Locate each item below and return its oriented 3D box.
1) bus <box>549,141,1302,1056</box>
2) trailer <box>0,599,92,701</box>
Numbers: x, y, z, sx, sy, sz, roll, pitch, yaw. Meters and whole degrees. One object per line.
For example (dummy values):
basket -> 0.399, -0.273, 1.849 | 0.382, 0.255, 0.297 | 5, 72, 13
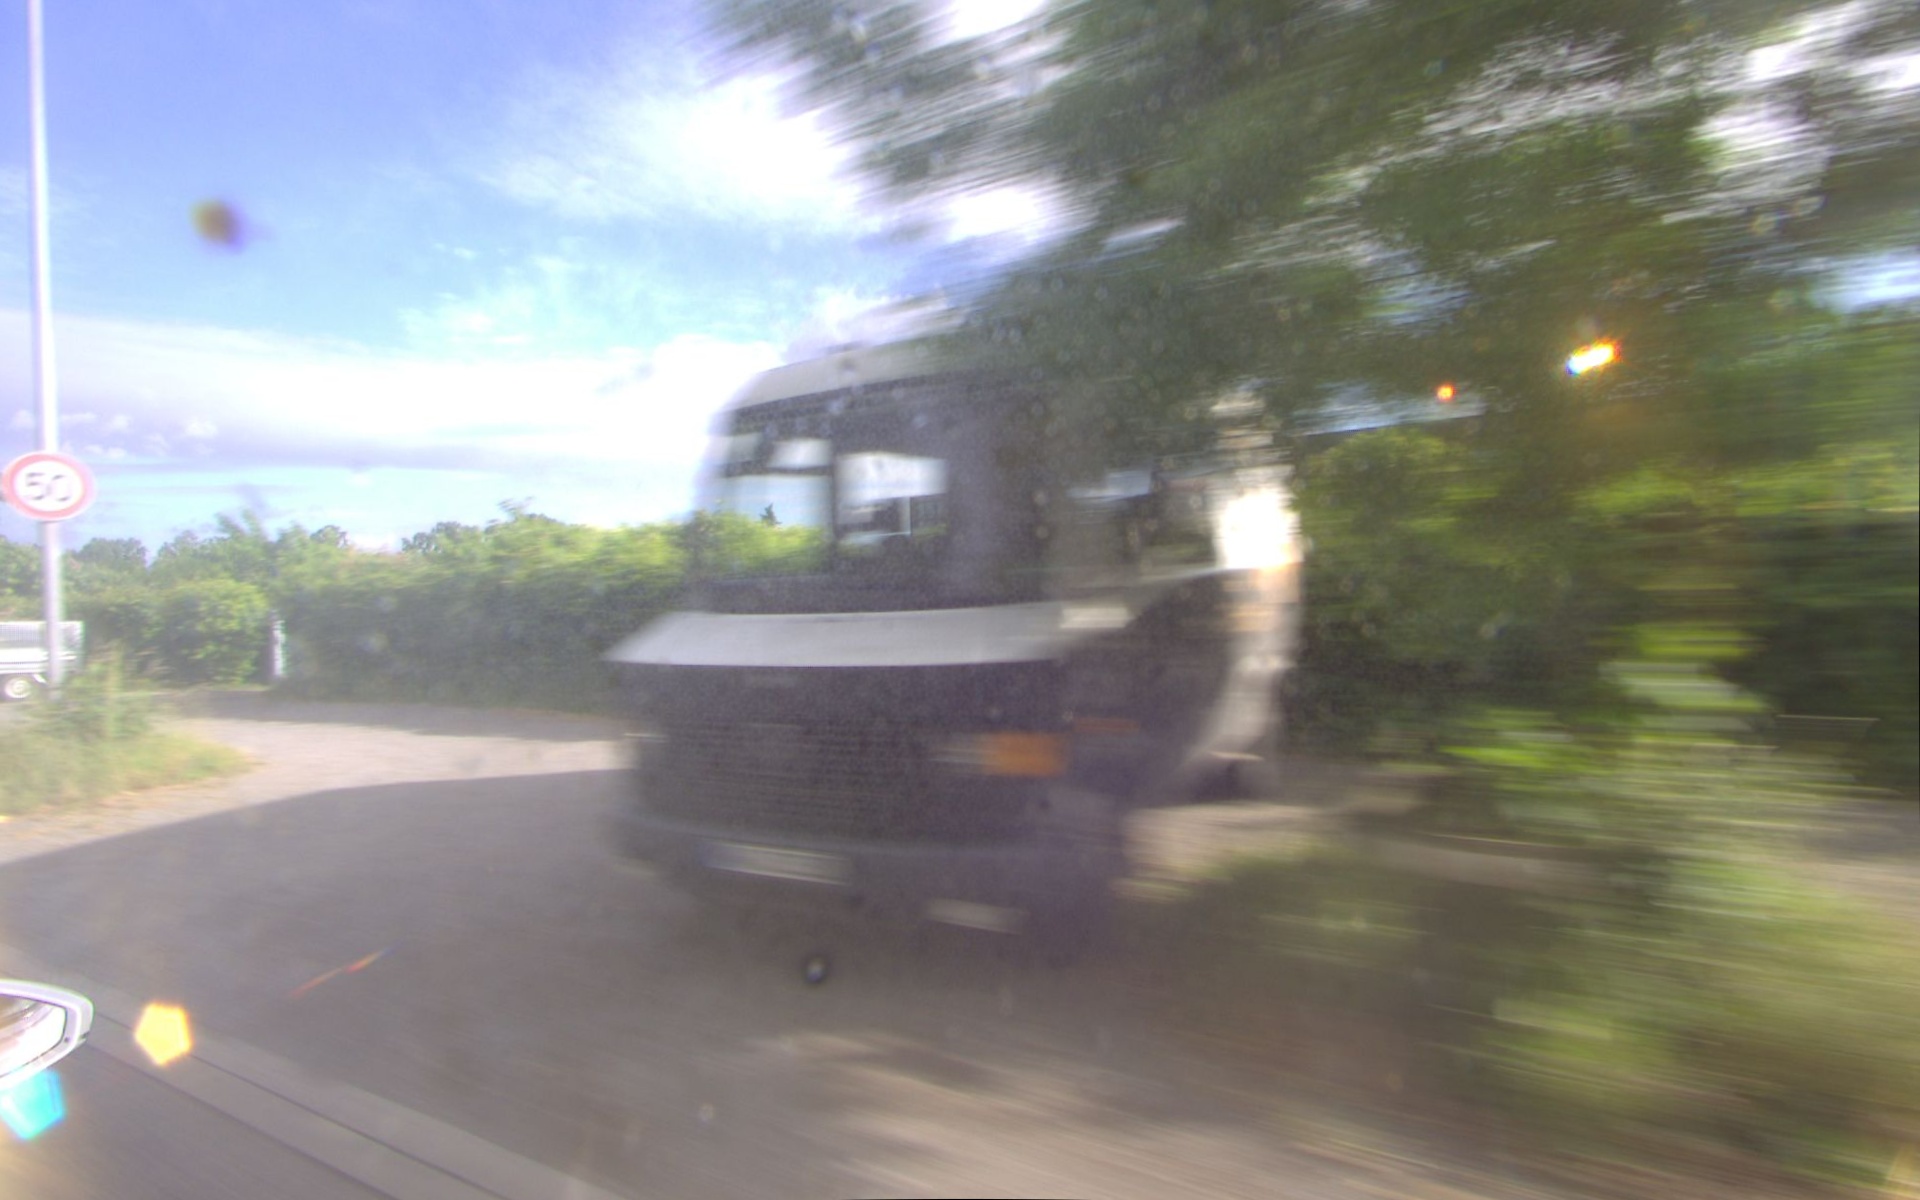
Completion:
bus -> 0.519, -0.010, 5.909 | 2.036, 2.783, 5.360 | -1, 1, 28
trailer -> -18.850, 0.960, 18.300 | 1.890, 1.859, 4.140 | -1, 0, 34
